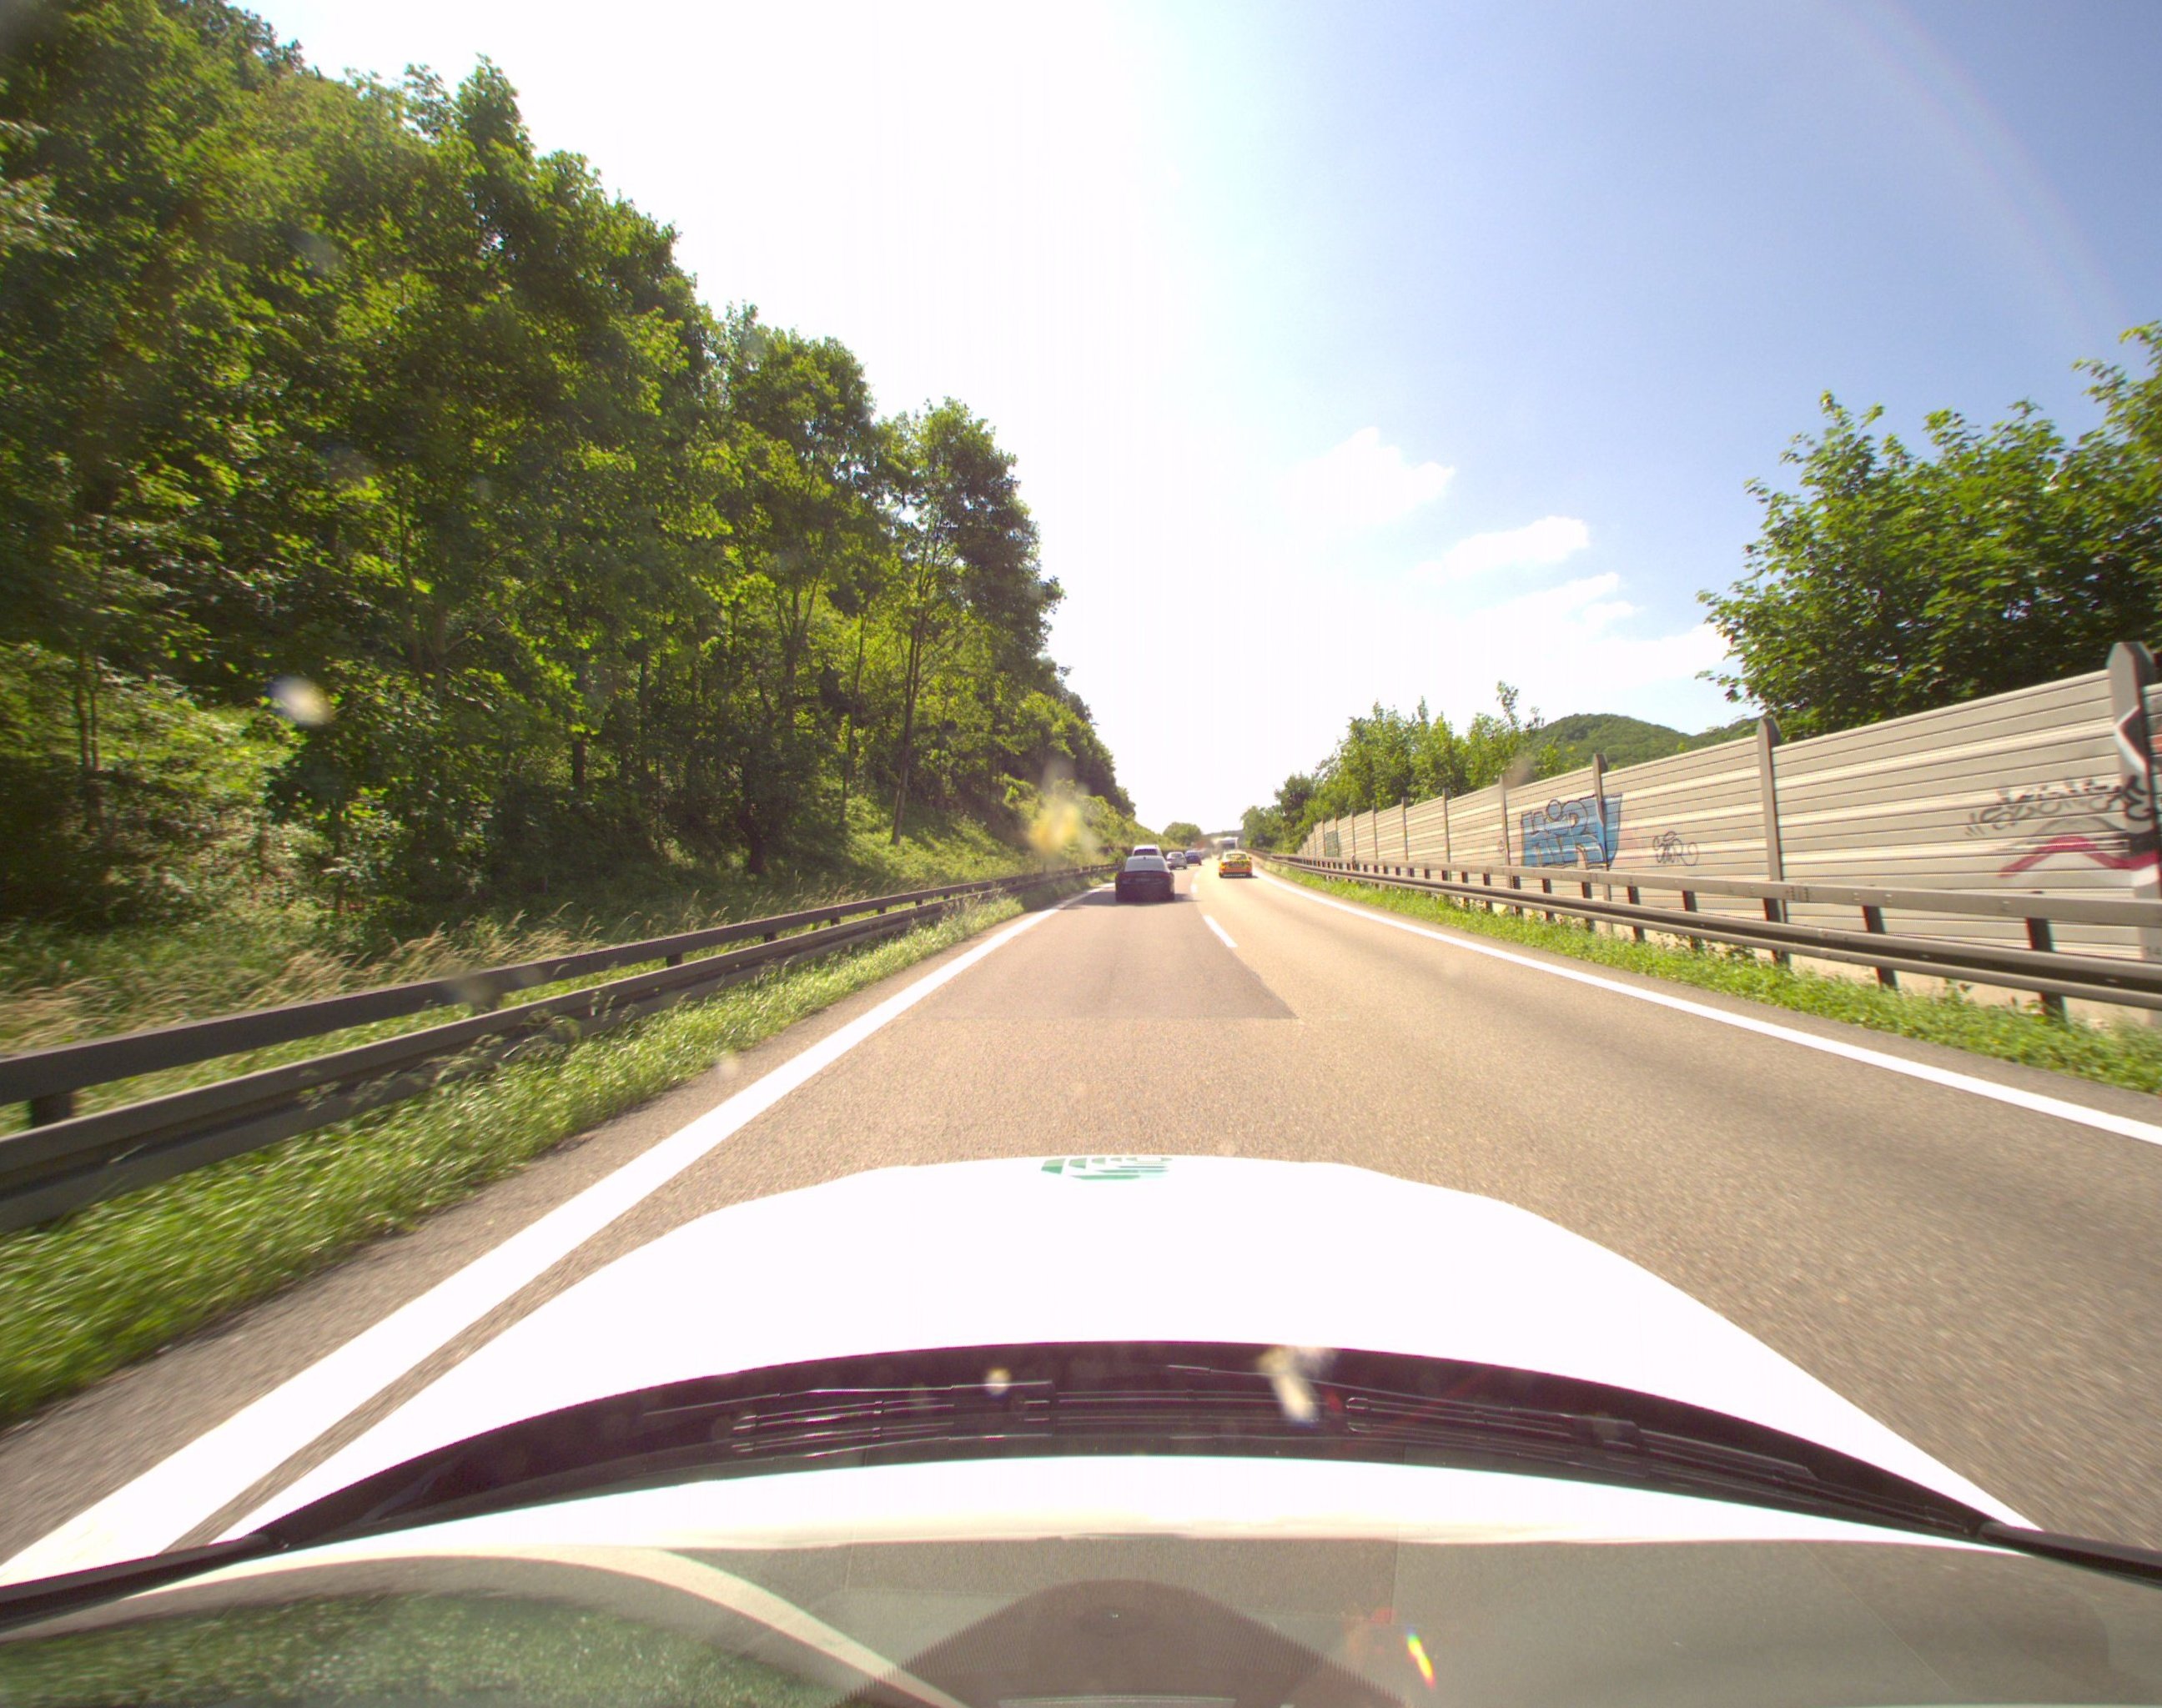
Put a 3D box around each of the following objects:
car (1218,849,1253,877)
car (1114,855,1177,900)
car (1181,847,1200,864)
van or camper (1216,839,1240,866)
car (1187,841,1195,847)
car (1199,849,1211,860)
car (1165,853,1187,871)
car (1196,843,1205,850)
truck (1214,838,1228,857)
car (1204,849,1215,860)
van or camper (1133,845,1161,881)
[{"bbox_3d":[8.678,0.520,45.941,1.851,1.488,4.010,-1,-1,9],"label":"car"},{"bbox_3d":[2.059,0.751,27.010,1.831,1.349,4.001,-1,-1,1],"label":"car"},{"bbox_3d":[10.929,0.178,81.137,1.763,1.637,4.008,-1,-1,7],"label":"car"},{"bbox_3d":[16.421,-0.139,91.055,2.441,2.918,6.140,-1,-1,8],"label":"van or camper"},{"bbox_3d":[35.268,-3.138,260.963,1.986,2.013,4.001,-1,0,2],"label":"car"},{"bbox_3d":[19.440,0.123,127.464,1.670,1.634,3.529,-1,0,10],"label":"car"},{"bbox_3d":[7.993,0.659,68.332,1.737,1.431,4.009,-1,-1,8],"label":"car"},{"bbox_3d":[34.561,-2.154,235.282,1.986,2.013,4.002,-1,0,2],"label":"car"},{"bbox_3d":[31.556,-1.409,183.893,2.717,4.096,7.496,-1,0,8],"label":"truck"},{"bbox_3d":[21.854,0.088,138.483,1.830,1.717,4.011,-1,-1,10],"label":"car"},{"bbox_3d":[3.575,0.492,44.286,1.385,1.816,4.004,-1,-1,4],"label":"van or camper"}]
